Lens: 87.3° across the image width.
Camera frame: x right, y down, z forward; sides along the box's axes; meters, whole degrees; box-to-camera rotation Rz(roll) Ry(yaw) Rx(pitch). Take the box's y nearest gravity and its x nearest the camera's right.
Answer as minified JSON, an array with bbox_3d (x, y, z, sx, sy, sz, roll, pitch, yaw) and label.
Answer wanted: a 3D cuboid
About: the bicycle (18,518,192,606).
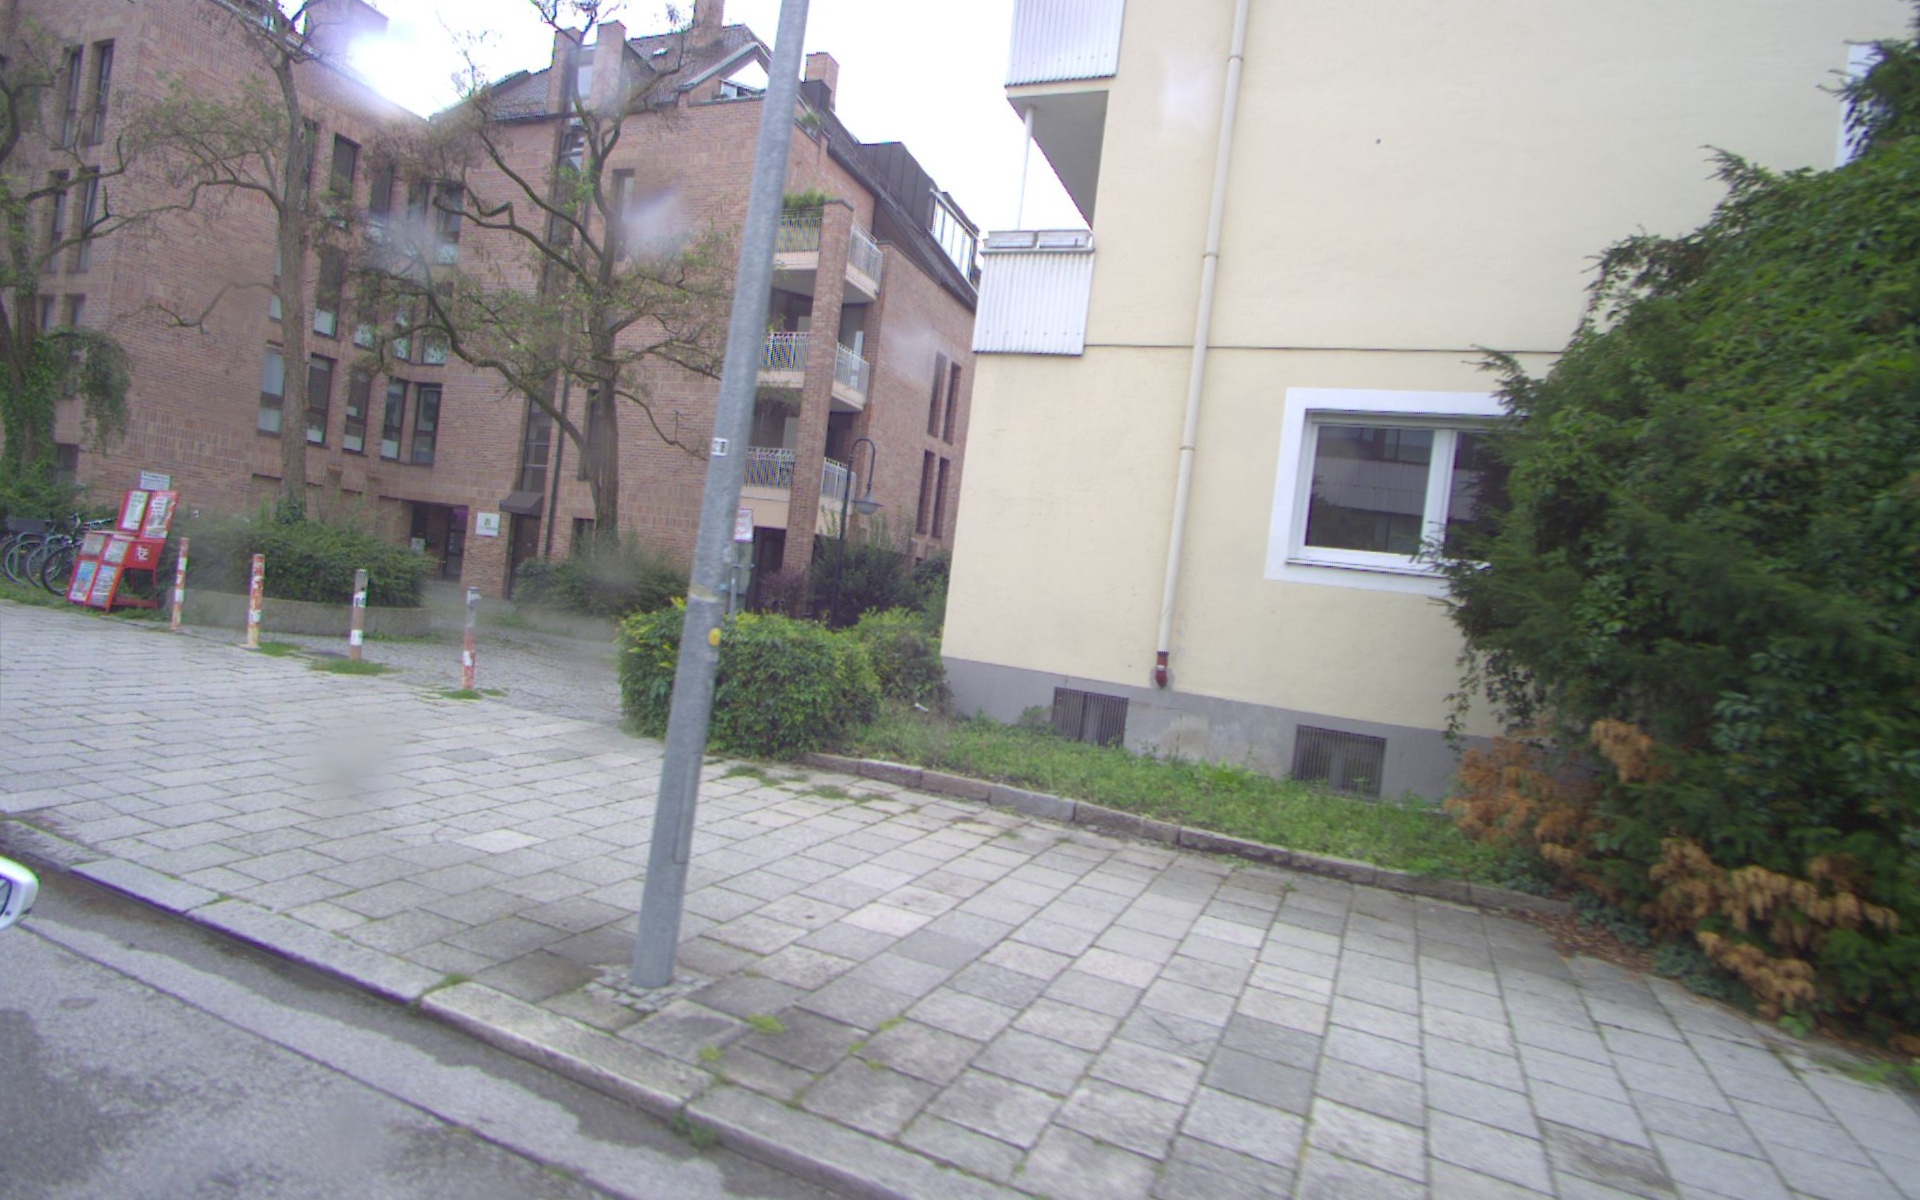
[{"bbox_3d":[-12.000,-0.504,14.180,0.536,0.976,1.706,8,-2,25],"label":"bicycle"}]

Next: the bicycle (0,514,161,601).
[{"bbox_3d":[-12.665,-0.580,14.458,0.536,0.976,1.706,8,-2,25],"label":"bicycle"}]

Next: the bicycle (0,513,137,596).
[{"bbox_3d":[-13.258,-0.662,14.736,0.536,0.976,1.706,8,-2,25],"label":"bicycle"}]
